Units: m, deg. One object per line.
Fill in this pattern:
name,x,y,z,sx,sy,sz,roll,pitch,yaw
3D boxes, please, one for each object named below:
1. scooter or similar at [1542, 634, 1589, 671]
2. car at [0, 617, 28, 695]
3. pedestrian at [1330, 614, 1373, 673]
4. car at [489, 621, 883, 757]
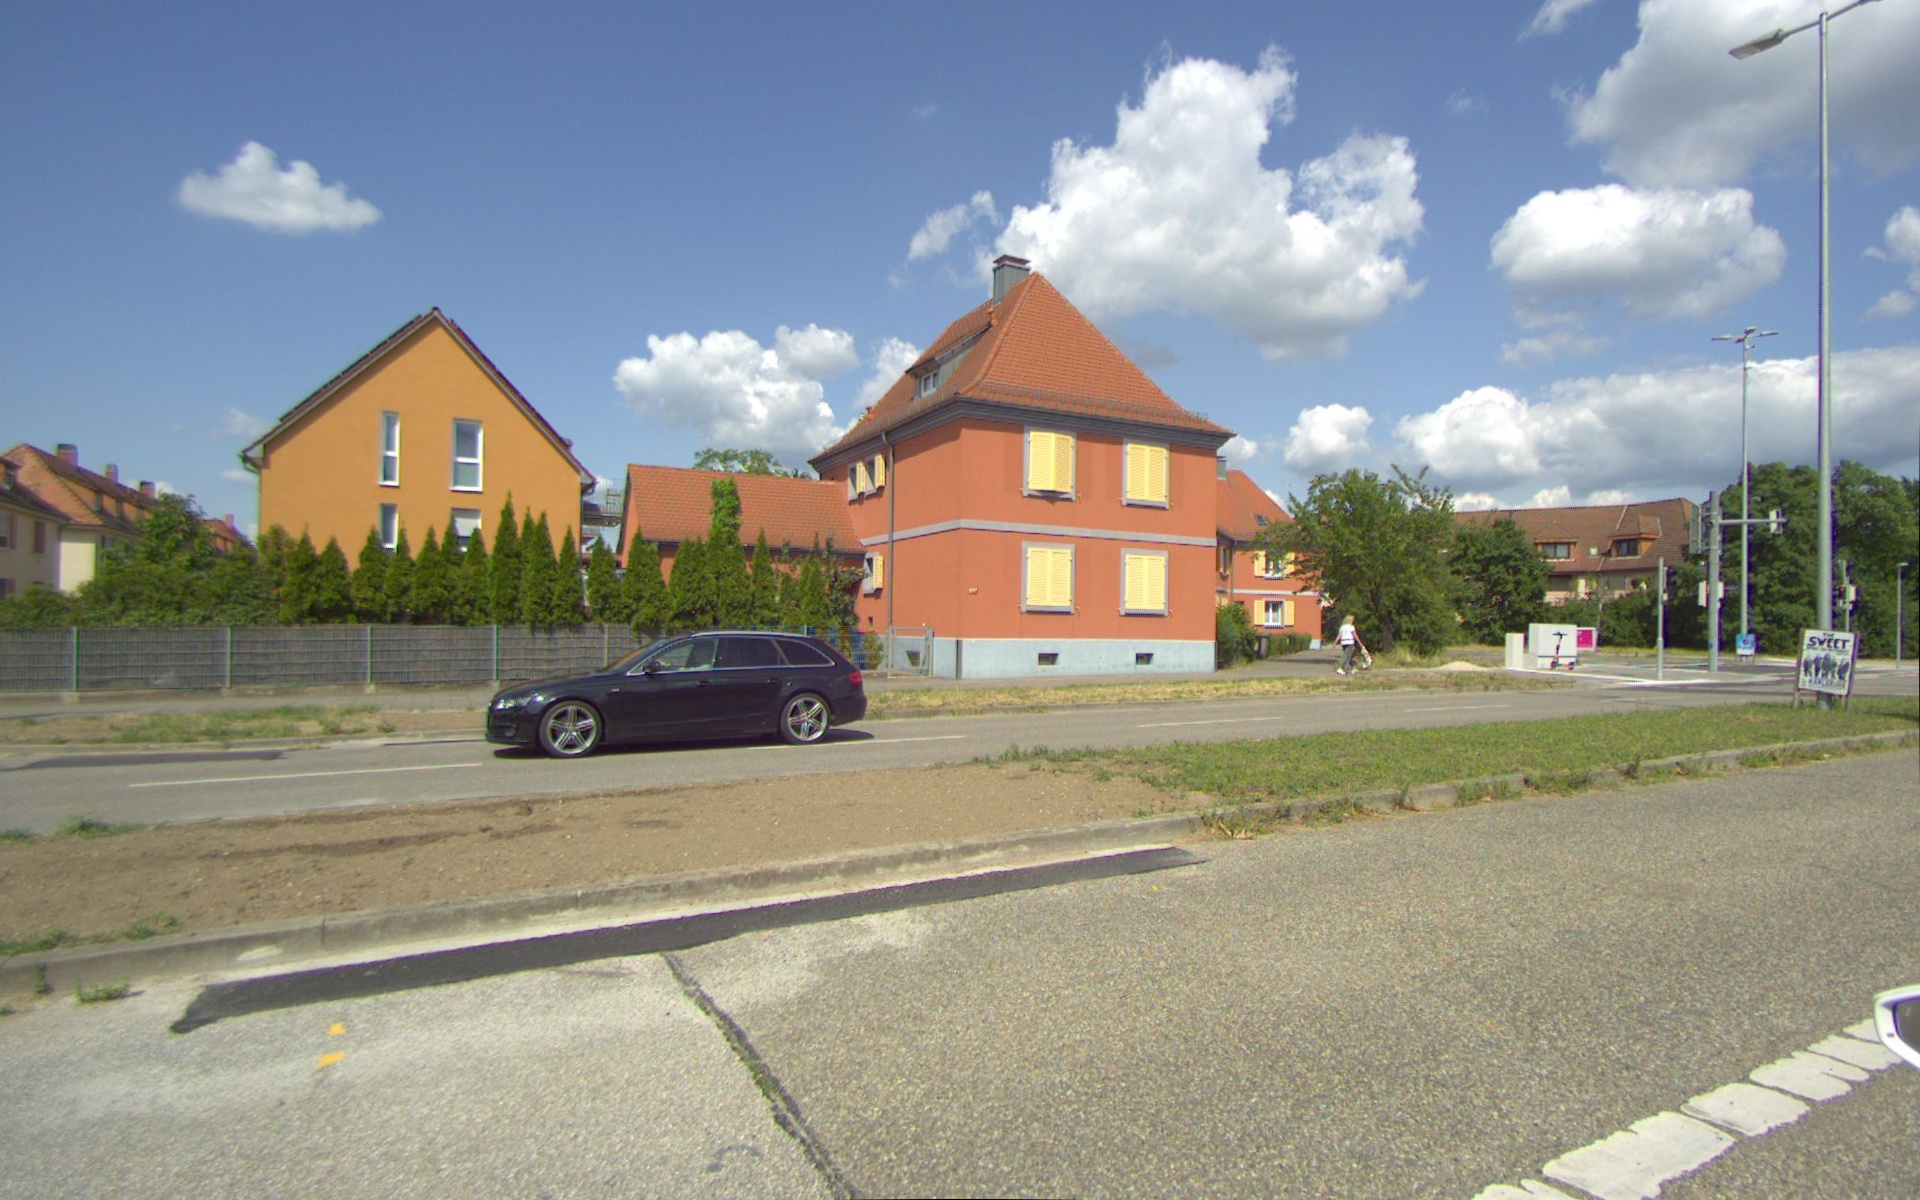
scooter or similar,20.285,1.756,33.641,1.741,1.179,0.586,2,0,-30
car,-20.686,1.133,19.954,1.973,1.639,3.976,2,-2,-25
pedestrian,10.838,1.197,27.799,0.841,1.604,0.693,2,0,-30
car,-3.386,1.052,12.672,4.520,1.457,1.764,2,-3,-29
